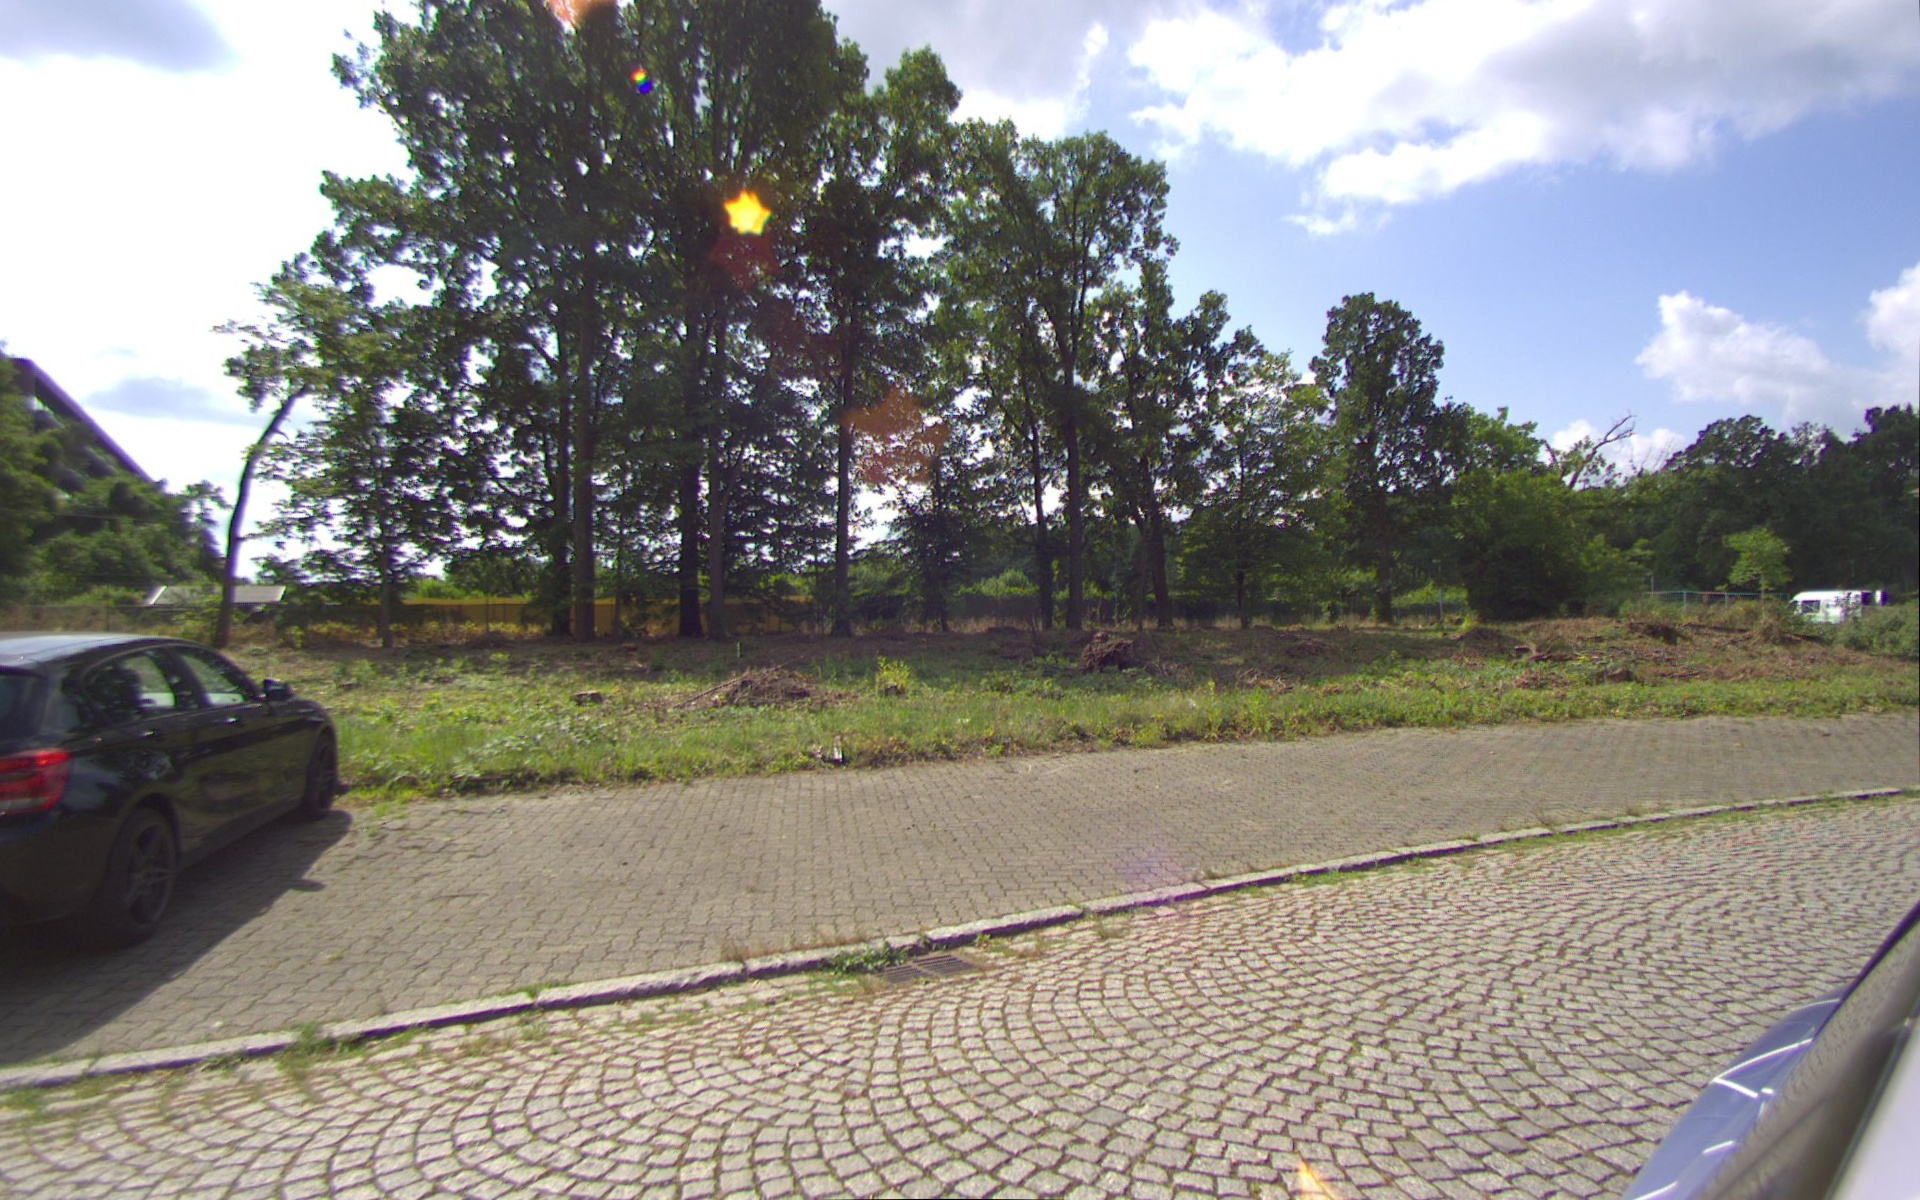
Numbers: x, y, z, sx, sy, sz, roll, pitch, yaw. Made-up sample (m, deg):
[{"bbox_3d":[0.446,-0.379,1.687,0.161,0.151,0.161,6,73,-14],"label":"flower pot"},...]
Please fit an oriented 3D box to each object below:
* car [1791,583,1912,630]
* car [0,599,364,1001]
[{"bbox_3d":[51.843,0.377,59.067,2.205,2.624,5.437,-1,0,0],"label":"car"},{"bbox_3d":[-5.055,0.784,5.853,1.791,1.519,4.348,1,0,-17],"label":"car"}]
